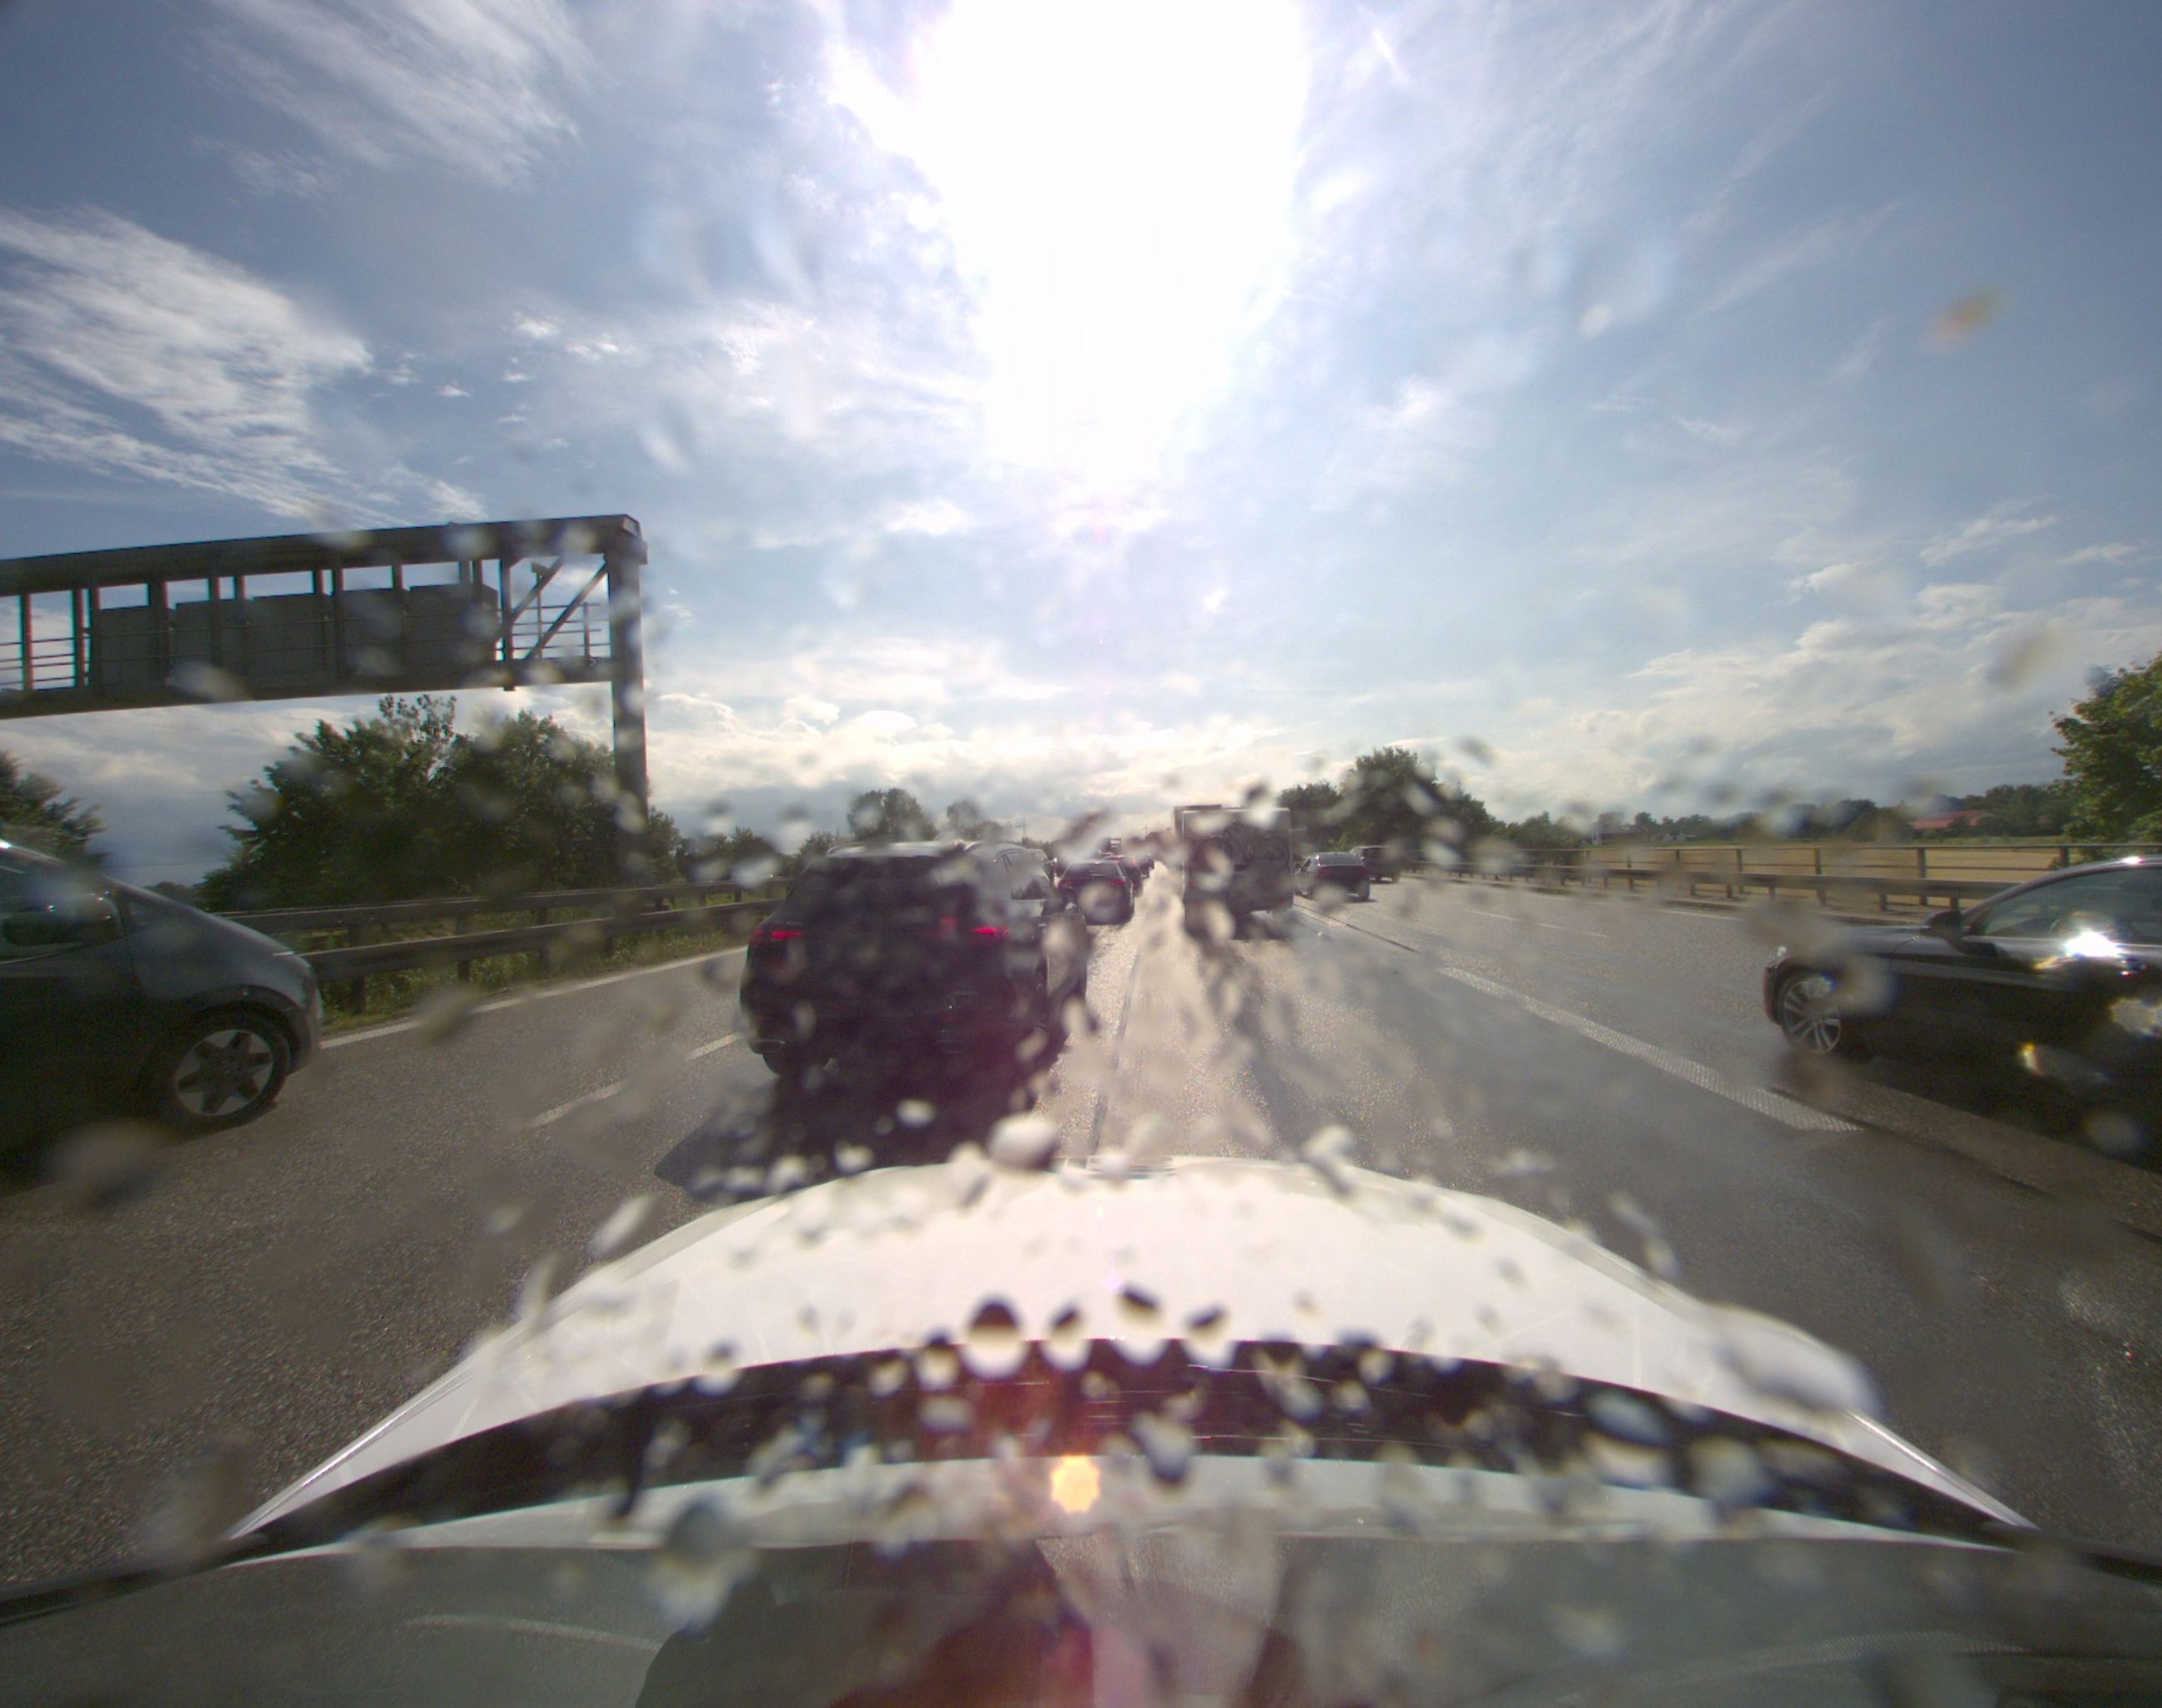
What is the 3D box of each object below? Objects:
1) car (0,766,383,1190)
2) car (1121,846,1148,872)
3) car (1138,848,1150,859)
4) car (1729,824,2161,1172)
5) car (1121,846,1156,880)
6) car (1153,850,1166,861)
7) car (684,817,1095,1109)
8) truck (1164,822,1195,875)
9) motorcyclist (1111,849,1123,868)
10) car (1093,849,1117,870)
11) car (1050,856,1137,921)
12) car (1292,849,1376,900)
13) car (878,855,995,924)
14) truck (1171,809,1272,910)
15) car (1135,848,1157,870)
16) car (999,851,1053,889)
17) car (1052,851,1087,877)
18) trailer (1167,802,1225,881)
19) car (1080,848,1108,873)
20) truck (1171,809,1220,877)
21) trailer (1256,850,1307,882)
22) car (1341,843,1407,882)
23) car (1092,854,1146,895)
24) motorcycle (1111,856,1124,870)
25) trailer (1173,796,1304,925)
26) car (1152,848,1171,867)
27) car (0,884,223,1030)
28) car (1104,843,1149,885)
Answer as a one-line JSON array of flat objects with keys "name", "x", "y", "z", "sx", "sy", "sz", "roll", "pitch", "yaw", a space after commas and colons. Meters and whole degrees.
[{"name": "car", "x": -6.201, "y": 0.617, "z": 3.214, "sx": 1.984, "sy": 2.013, "sz": 5.277, "roll": -2, "pitch": 0, "yaw": 5}, {"name": "car", "x": 4.357, "y": 0.410, "z": 65.412, "sx": 1.983, "sy": 2.013, "sz": 4.007, "roll": 0, "pitch": 0, "yaw": 6}, {"name": "car", "x": 10.699, "y": -0.114, "z": 139.037, "sx": 1.868, "sy": 1.760, "sz": 4.003, "roll": -1, "pitch": 0, "yaw": 3}, {"name": "car", "x": 5.534, "y": 0.584, "z": 3.859, "sx": 1.839, "sy": 1.464, "sz": 4.263, "roll": -2, "pitch": 0, "yaw": 6}, {"name": "car", "x": 3.711, "y": 0.537, "z": 52.238, "sx": 1.983, "sy": 2.013, "sz": 4.007, "roll": 2, "pitch": 0, "yaw": 6}, {"name": "car", "x": 12.917, "y": 0.253, "z": 133.683, "sx": 1.868, "sy": 1.760, "sz": 4.003, "roll": -1, "pitch": 0, "yaw": 3}, {"name": "car", "x": -1.098, "y": 0.652, "z": 6.927, "sx": 1.983, "sy": 1.661, "sz": 4.414, "roll": -2, "pitch": 0, "yaw": 6}, {"name": "truck", "x": 9.410, "y": -0.529, "z": 78.428, "sx": 2.490, "sy": 4.829, "sz": 7.552, "roll": -1, "pitch": 0, "yaw": 4}, {"name": "motorcyclist", "x": 3.437, "y": 0.436, "z": 76.871, "sx": 1.058, "sy": 1.718, "sz": 0.786, "roll": -1, "pitch": -1, "yaw": 6}, {"name": "car", "x": 2.458, "y": 0.514, "z": 82.703, "sx": 1.983, "sy": 2.013, "sz": 4.007, "roll": -2, "pitch": 0, "yaw": 6}, {"name": "car", "x": 0.413, "y": 0.778, "z": 20.230, "sx": 1.748, "sy": 1.387, "sz": 3.952, "roll": -2, "pitch": 0, "yaw": 6}, {"name": "car", "x": 7.808, "y": 0.591, "z": 25.473, "sx": 1.732, "sy": 1.420, "sz": 3.841, "roll": -2, "pitch": 0, "yaw": 5}, {"name": "car", "x": -3.541, "y": 0.814, "z": 20.742, "sx": 1.748, "sy": 1.516, "sz": 4.216, "roll": -2, "pitch": 0, "yaw": 6}, {"name": "truck", "x": 3.815, "y": 0.160, "z": 23.150, "sx": 2.362, "sy": 2.477, "sz": 5.764, "roll": -1, "pitch": 0, "yaw": 5}, {"name": "car", "x": 6.243, "y": 0.447, "z": 78.035, "sx": 1.983, "sy": 2.013, "sz": 4.007, "roll": -1, "pitch": 0, "yaw": 6}, {"name": "car", "x": -2.538, "y": 0.727, "z": 38.668, "sx": 1.984, "sy": 1.720, "sz": 4.004, "roll": -1, "pitch": 0, "yaw": 4}, {"name": "car", "x": -0.812, "y": 0.690, "z": 58.797, "sx": 1.983, "sy": 1.772, "sz": 4.007, "roll": -1, "pitch": 0, "yaw": 6}, {"name": "trailer", "x": 6.747, "y": -0.662, "z": 47.953, "sx": 2.990, "sy": 4.166, "sz": 8.554, "roll": -1, "pitch": 0, "yaw": 8}, {"name": "car", "x": 1.155, "y": 0.531, "z": 70.986, "sx": 1.983, "sy": 2.013, "sz": 4.007, "roll": 2, "pitch": 0, "yaw": 6}, {"name": "truck", "x": 7.472, "y": -0.671, "z": 53.327, "sx": 2.979, "sy": 4.166, "sz": 5.251, "roll": -1, "pitch": 0, "yaw": 8}, {"name": "trailer", "x": 9.855, "y": 0.542, "z": 40.370, "sx": 1.845, "sy": 1.442, "sz": 4.154, "roll": -2, "pitch": 0, "yaw": 5}, {"name": "car", "x": 13.070, "y": 0.358, "z": 36.608, "sx": 1.779, "sy": 1.613, "sz": 4.392, "roll": -2, "pitch": 0, "yaw": 6}, {"name": "car", "x": 1.516, "y": 0.741, "z": 30.904, "sx": 1.797, "sy": 1.407, "sz": 4.006, "roll": -1, "pitch": 0, "yaw": 6}, {"name": "motorcycle", "x": 3.439, "y": 0.840, "z": 76.784, "sx": 1.068, "sy": 1.271, "sz": 2.695, "roll": -2, "pitch": 0, "yaw": 6}, {"name": "trailer", "x": 3.434, "y": 0.143, "z": 19.126, "sx": 2.362, "sy": 2.483, "sz": 6.533, "roll": -1, "pitch": 0, "yaw": 5}, {"name": "car", "x": 8.612, "y": 0.402, "z": 87.308, "sx": 1.983, "sy": 2.013, "sz": 4.007, "roll": 0, "pitch": 0, "yaw": 6}, {"name": "car", "x": -16.777, "y": 1.586, "z": 12.523, "sx": 1.984, "sy": 2.013, "sz": 4.659, "roll": -2, "pitch": 0, "yaw": 5}, {"name": "car", "x": 2.338, "y": 0.476, "z": 40.718, "sx": 1.983, "sy": 2.013, "sz": 4.007, "roll": -1, "pitch": 0, "yaw": 6}]
